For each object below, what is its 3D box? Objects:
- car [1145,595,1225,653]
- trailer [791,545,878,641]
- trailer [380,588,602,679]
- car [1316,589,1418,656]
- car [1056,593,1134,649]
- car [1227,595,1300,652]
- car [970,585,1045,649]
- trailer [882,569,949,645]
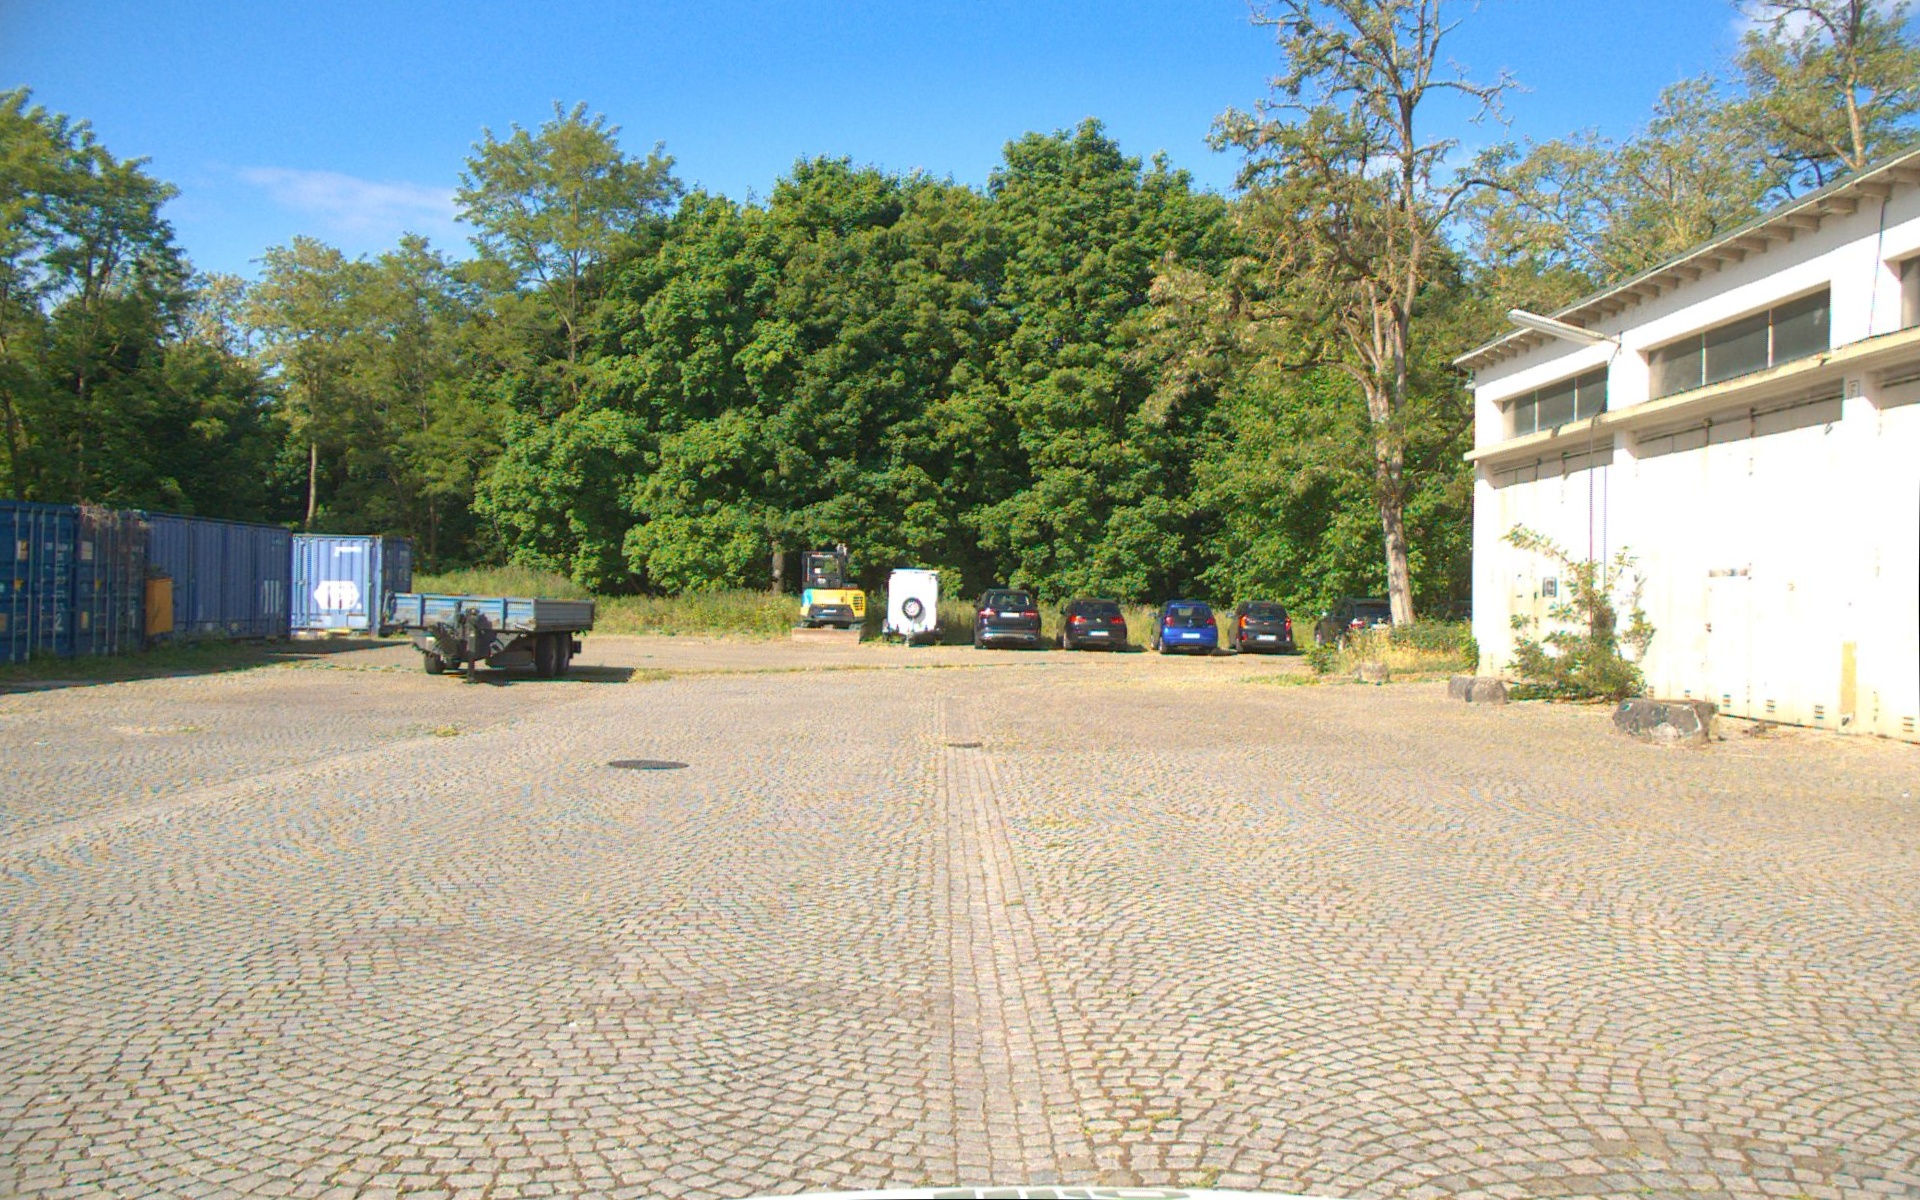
[{"bbox_3d":[6.372,0.652,47.134,1.743,1.484,3.790,1,1,0],"label":"car"},{"bbox_3d":[-3.601,-0.245,48.082,2.212,2.582,2.852,1,3,1],"label":"trailer"},{"bbox_3d":[-8.211,0.569,29.555,2.587,1.439,4.861,1,0,-1],"label":"trailer"},{"bbox_3d":[11.707,0.612,47.865,1.836,1.659,4.274,1,3,-1],"label":"car"},{"bbox_3d":[3.797,0.567,47.025,1.850,1.436,3.790,1,1,-1],"label":"car"},{"bbox_3d":[8.817,0.651,48.214,1.702,1.476,3.727,2,1,5],"label":"car"},{"bbox_3d":[1.298,0.439,46.624,1.924,1.617,4.131,1,1,-1],"label":"car"},{"bbox_3d":[-1.257,0.164,47.807,1.781,2.086,2.851,1,1,1],"label":"trailer"}]
